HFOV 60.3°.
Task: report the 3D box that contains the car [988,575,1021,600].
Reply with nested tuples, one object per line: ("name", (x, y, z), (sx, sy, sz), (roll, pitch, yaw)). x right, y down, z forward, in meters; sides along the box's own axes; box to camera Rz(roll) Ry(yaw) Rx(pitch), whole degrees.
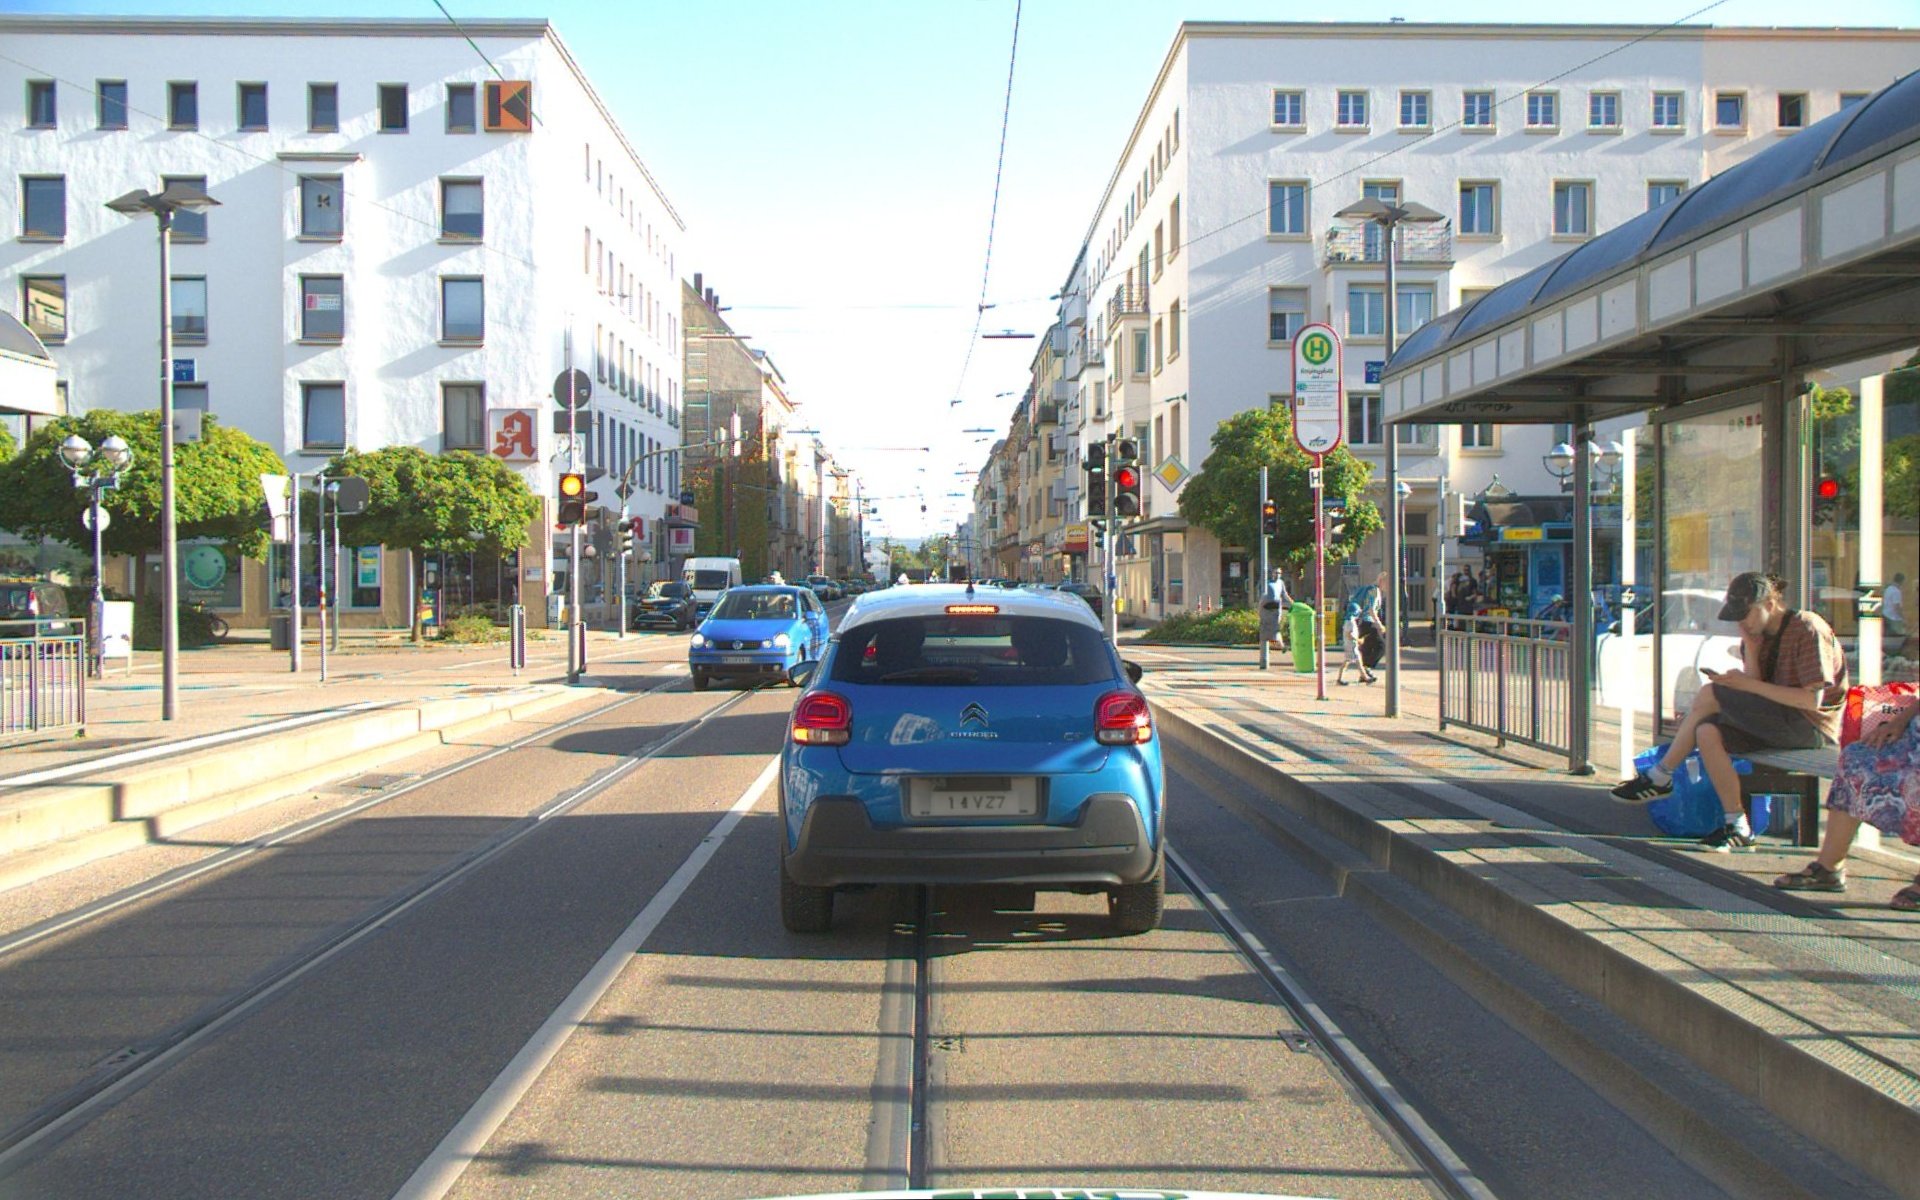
("car", (2.773, -0.798, 104.348), (1.953, 1.489, 4.504), (-1, 1, 0))

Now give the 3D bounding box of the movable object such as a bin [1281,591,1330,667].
("movable object such as a bin", (3.713, 0.308, 17.799), (0.439, 0.800, 0.489), (0, 0, 2))

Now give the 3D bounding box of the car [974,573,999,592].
("car", (2.139, -1.419, 135.423), (1.953, 1.489, 4.000), (-1, 1, 0))

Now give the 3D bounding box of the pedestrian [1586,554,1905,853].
("pedestrian", (3.553, 0.444, 7.573), (0.978, 1.246, 0.923), (2, 0, -1))

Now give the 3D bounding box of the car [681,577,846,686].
("car", (-2.903, 0.413, 25.206), (1.632, 1.513, 4.003), (0, 1, 6))

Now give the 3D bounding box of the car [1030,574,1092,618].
("car", (3.553, -0.150, 59.035), (1.953, 1.489, 4.000), (-1, 1, 0))

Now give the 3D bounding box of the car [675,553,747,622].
("car", (-9.708, -0.503, 64.861), (2.043, 2.586, 6.203), (0, 1, -2))

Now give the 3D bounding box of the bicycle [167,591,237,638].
("bicycle", (-20.612, 0.384, 45.035), (0.605, 1.211, 2.621), (-1, 1, 2))

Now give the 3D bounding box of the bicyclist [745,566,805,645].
("bicyclist", (-3.539, 0.100, 31.682), (0.867, 1.481, 0.820), (0, 0, -35))

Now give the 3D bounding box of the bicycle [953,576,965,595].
("bicycle", (-0.055, -1.127, 129.338), (0.901, 1.413, 3.131), (-1, 1, -1))

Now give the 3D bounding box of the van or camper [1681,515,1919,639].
("van or camper", (20.976, -0.583, 38.962), (6.976, 2.794, 2.371), (-1, 2, 0))

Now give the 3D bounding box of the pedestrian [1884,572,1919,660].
("pedestrian", (17.818, 0.293, 30.787), (0.882, 1.613, 0.662), (-1, 0, 3))

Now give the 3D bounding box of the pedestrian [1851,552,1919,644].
("pedestrian", (16.490, -0.039, 29.460), (0.882, 1.613, 0.662), (-1, 0, 3))

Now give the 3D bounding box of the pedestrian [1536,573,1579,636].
("pedestrian", (14.238, 0.101, 39.430), (0.715, 1.434, 0.755), (0, 4, -1))

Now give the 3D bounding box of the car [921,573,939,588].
("car", (-3.737, -2.364, 204.876), (1.954, 1.809, 3.997), (-1, 1, -4))

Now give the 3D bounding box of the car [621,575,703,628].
("car", (-9.767, 0.038, 54.502), (1.953, 1.596, 4.401), (2, 0, -2))

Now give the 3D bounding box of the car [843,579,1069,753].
("car", (-0.074, 0.540, 16.705), (1.944, 1.489, 4.815), (0, 1, -1))

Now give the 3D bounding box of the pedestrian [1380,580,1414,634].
("pedestrian", (10.941, 0.166, 41.418), (0.725, 1.339, 0.628), (0, 0, 22))

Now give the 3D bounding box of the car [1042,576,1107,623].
("car", (3.745, -0.042, 54.650), (1.870, 1.489, 4.000), (-1, 1, 0))

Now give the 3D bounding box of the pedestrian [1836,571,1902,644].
("pedestrian", (16.575, 0.135, 30.173), (0.882, 1.302, 0.605), (-1, 1, 6))

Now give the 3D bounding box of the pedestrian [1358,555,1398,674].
("pedestrian", (6.349, 0.214, 25.156), (0.546, 1.775, 0.527), (0, 0, 10))

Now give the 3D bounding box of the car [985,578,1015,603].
("car", (2.689, -0.654, 112.021), (1.953, 1.579, 4.000), (-1, 1, 0))

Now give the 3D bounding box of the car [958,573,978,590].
("car", (0.837, -1.991, 176.187), (1.953, 1.803, 4.000), (-1, 1, -1))

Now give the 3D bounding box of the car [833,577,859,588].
("car", (-12.869, -1.958, 187.006), (1.951, 1.176, 4.518), (-1, 1, 8))

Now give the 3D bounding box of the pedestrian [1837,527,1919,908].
("pedestrian", (3.859, 0.434, 6.125), (0.841, 1.357, 0.623), (2, 0, -1))

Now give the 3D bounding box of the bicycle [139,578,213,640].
("bicycle", (-21.324, 0.235, 45.048), (0.605, 1.635, 2.621), (-1, 1, 3))

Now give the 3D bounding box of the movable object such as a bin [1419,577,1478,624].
("movable object such as a bin", (12.589, 0.009, 42.644), (1.174, 1.173, 1.217), (-1, 1, 0))

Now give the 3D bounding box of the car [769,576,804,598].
("car", (-11.046, -0.826, 105.689), (1.953, 1.348, 3.921), (0, 0, -2))

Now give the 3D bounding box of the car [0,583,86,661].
("car", (-22.383, 0.491, 37.690), (3.906, 1.735, 1.825), (-1, 1, -1))

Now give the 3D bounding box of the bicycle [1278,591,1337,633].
("bicycle", (9.441, 0.328, 44.968), (1.534, 1.140, 0.300), (0, 0, 10))

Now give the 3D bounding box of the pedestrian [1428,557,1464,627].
("pedestrian", (13.179, -0.229, 44.859), (0.768, 1.871, 0.678), (-1, 0, 2))

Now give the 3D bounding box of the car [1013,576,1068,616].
("car", (3.130, -0.173, 65.197), (1.953, 1.527, 4.000), (-1, 1, 0))

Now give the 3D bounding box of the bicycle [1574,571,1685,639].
("bicycle", (15.895, 0.118, 39.299), (2.336, 1.558, 0.726), (1, 1, -2))

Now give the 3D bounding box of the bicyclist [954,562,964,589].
("bicyclist", (-0.083, -1.904, 129.558), (0.793, 2.049, 0.922), (0, 0, -1))

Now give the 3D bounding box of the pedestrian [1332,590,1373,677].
("pedestrian", (5.687, 0.479, 23.983), (0.546, 1.247, 0.527), (0, 0, 10))

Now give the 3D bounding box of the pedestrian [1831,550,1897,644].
("pedestrian", (16.847, -0.057, 30.844), (0.882, 1.714, 0.696), (-1, 0, 7))

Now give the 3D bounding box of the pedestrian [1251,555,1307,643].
("pedestrian", (7.029, -0.020, 36.494), (0.961, 1.910, 1.128), (-1, 0, -3))

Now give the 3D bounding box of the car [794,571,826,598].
("car", (-11.657, -1.210, 129.016), (1.965, 2.049, 4.690), (0, 0, 1))

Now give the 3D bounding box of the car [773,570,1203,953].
("car", (0.082, 0.616, 8.448), (1.693, 1.508, 3.826), (0, 1, -1))
